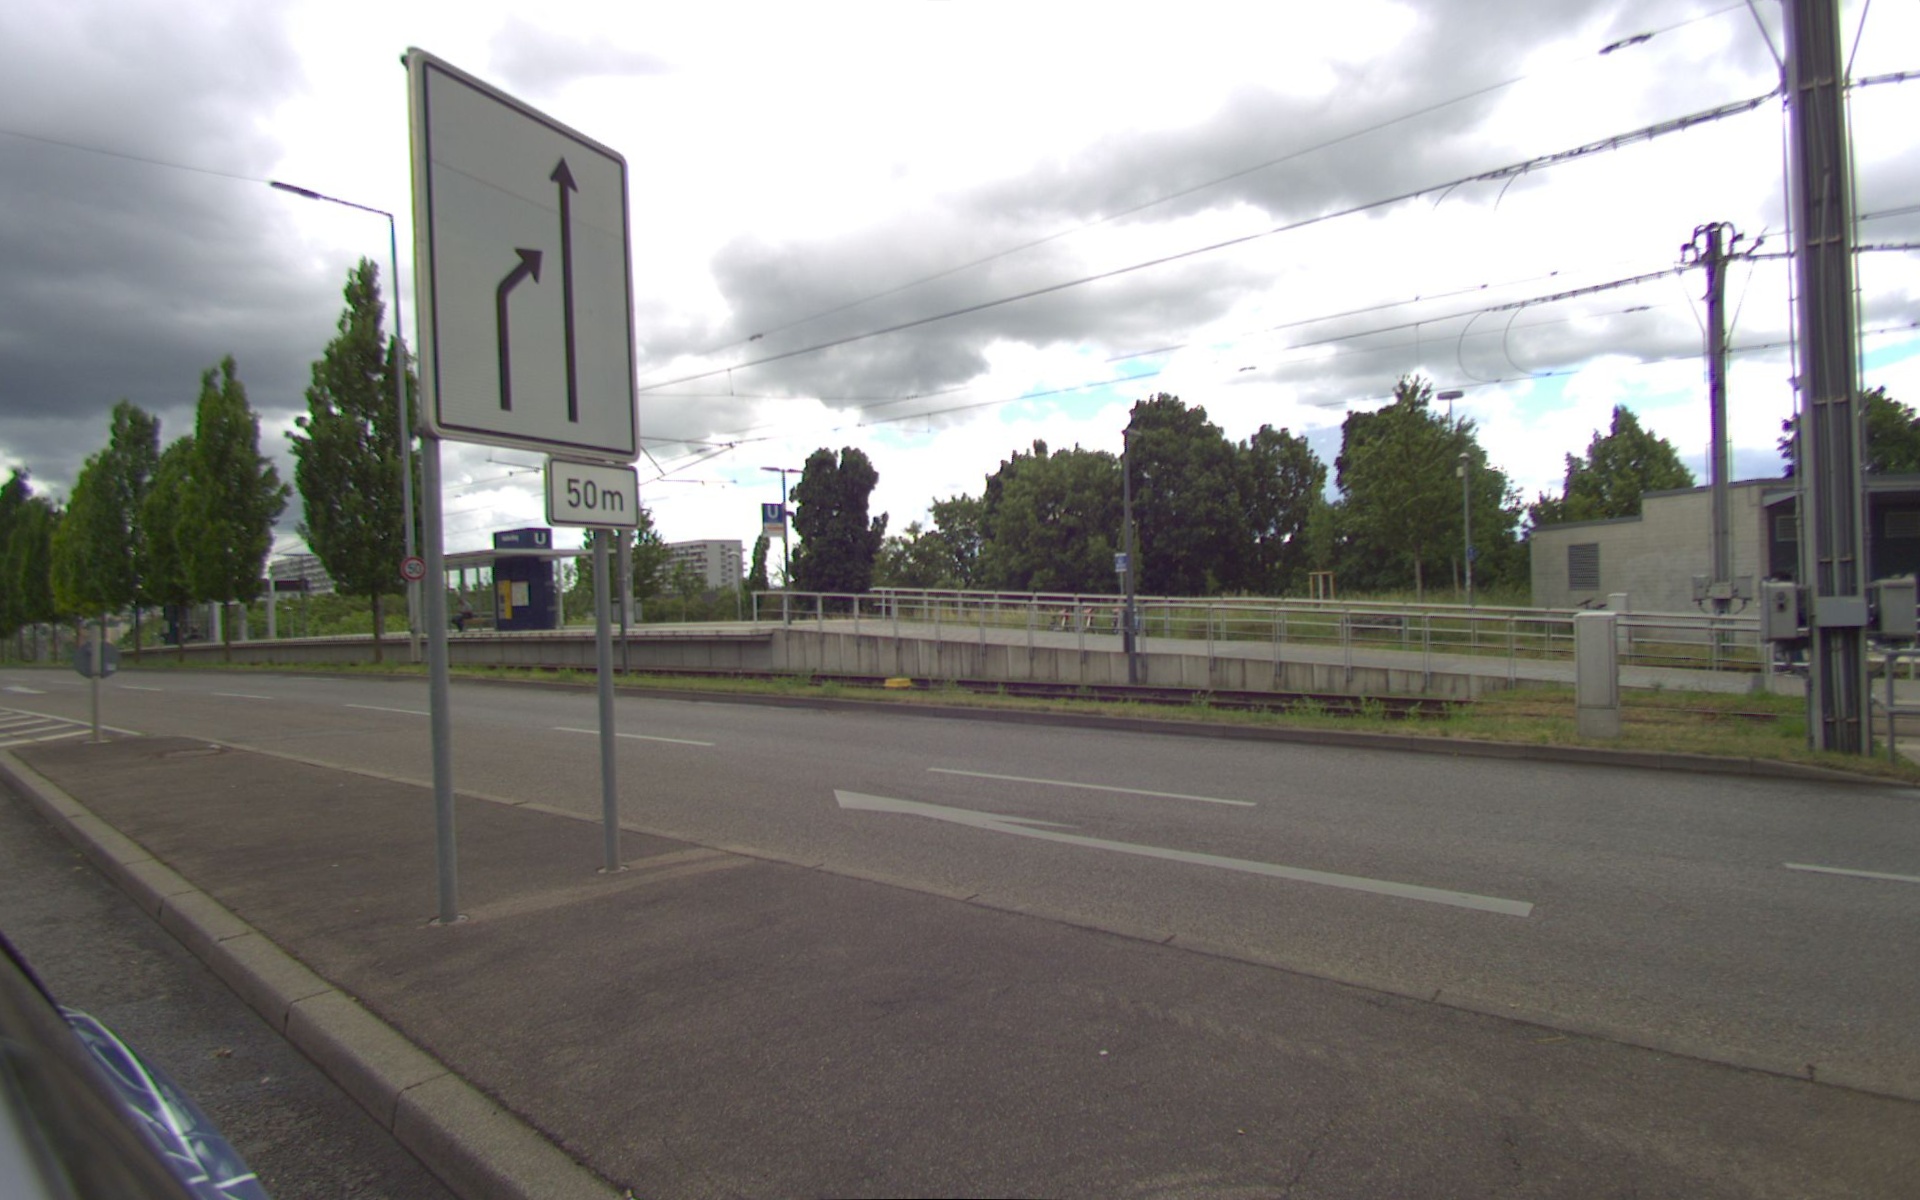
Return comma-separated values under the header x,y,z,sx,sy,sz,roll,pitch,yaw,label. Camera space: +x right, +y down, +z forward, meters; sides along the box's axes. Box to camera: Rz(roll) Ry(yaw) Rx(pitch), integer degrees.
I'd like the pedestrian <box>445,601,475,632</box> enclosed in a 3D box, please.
x,y,z,sx,sy,sz,roll,pitch,yaw,label
-19.244,0.624,38.934,0.837,1.184,0.741,-1,0,40,pedestrian

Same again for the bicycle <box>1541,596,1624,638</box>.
x,y,z,sx,sy,sz,roll,pitch,yaw,label
17.236,0.444,28.097,0.668,1.114,2.260,-1,0,-7,bicycle

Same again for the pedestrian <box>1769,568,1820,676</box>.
x,y,z,sx,sy,sz,roll,pitch,yaw,label
12.589,0.321,15.269,0.545,1.584,0.557,2,1,40,pedestrian
